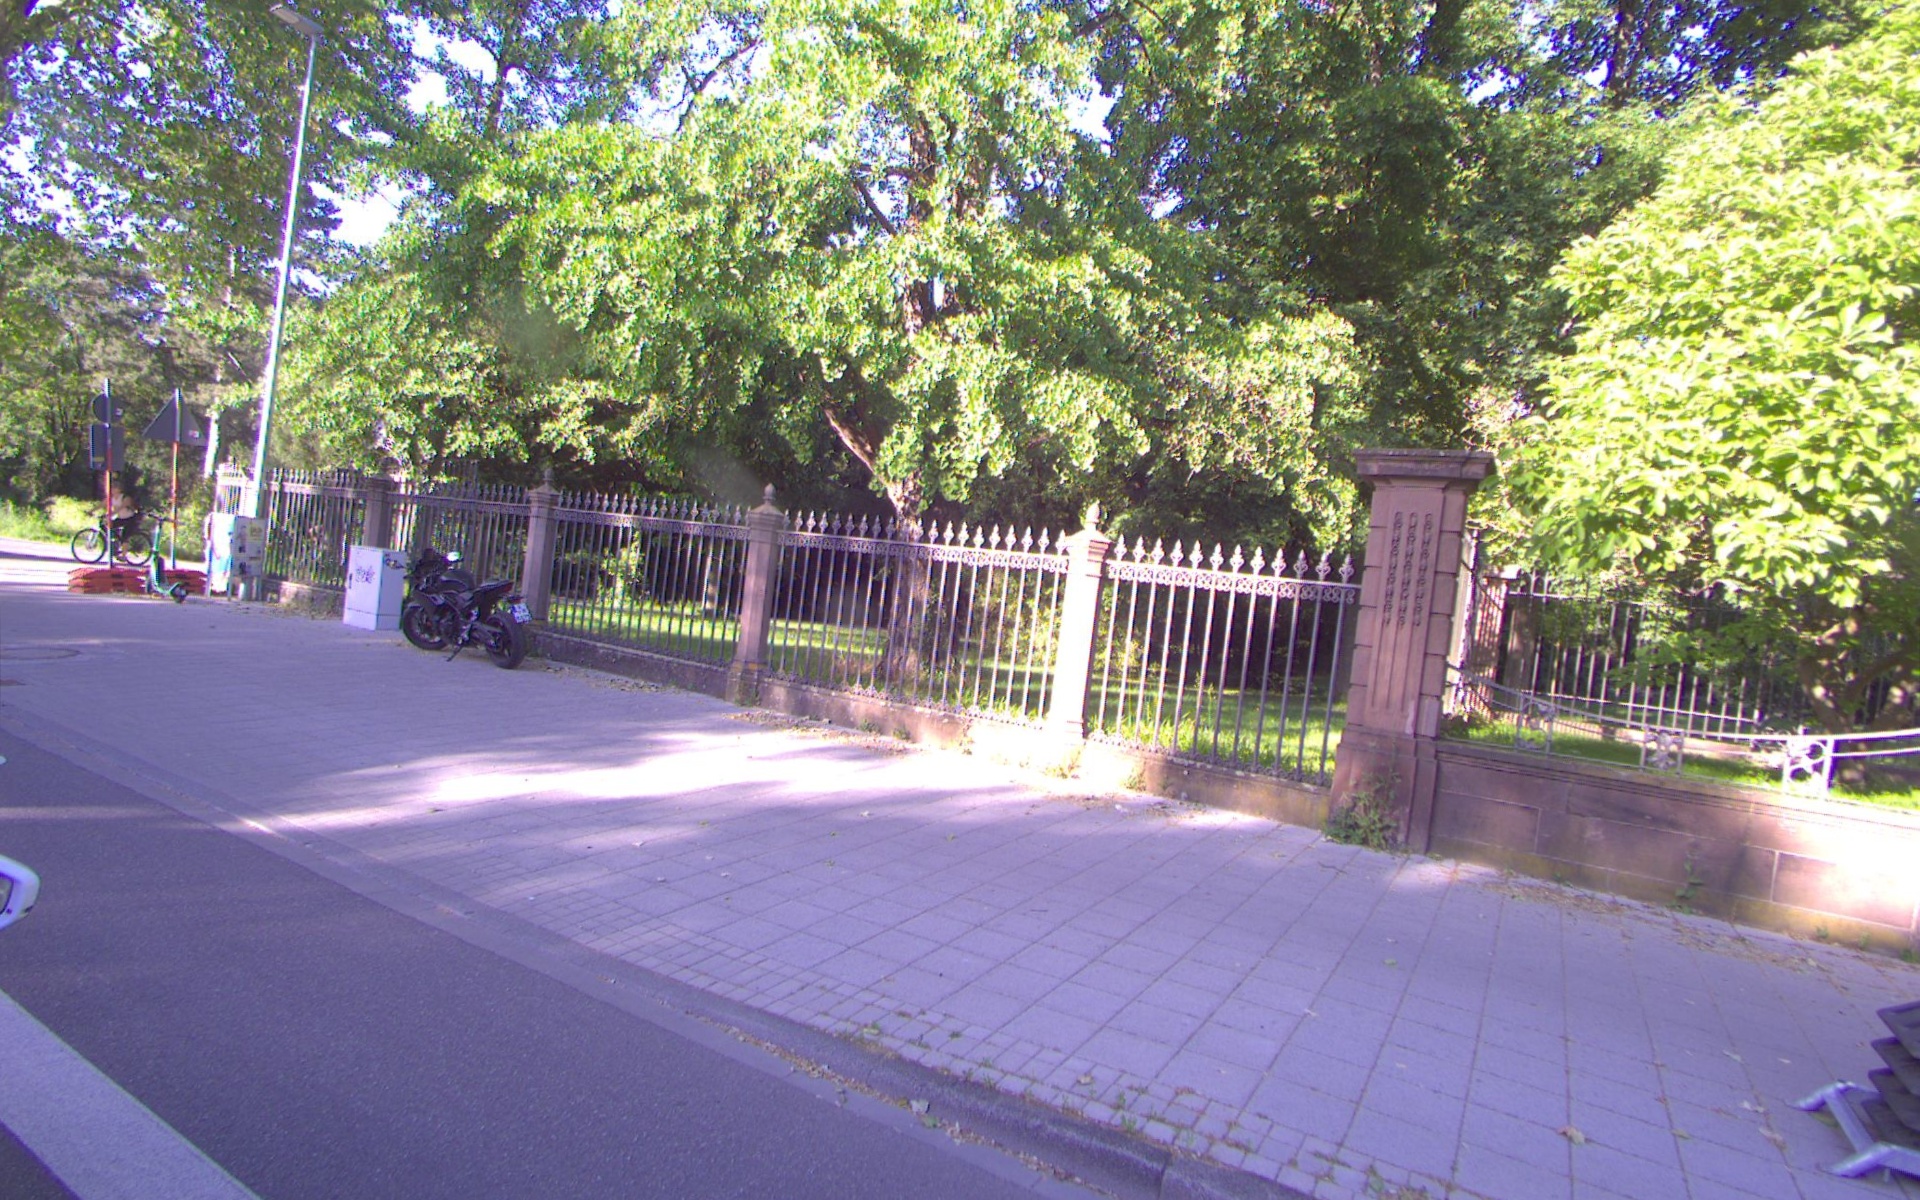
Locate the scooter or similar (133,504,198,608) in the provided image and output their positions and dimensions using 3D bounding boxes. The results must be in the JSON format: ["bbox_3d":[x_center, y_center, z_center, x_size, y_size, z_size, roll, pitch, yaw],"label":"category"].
[{"bbox_3d":[-11.164,-0.628,14.132,1.152,1.344,0.228,7,2,30],"label":"scooter or similar"}]

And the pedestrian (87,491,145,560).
[{"bbox_3d":[-20.699,-1.805,24.687,0.812,1.536,0.909,7,-1,-32],"label":"pedestrian"}]

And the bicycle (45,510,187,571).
[{"bbox_3d":[-17.265,-1.197,20.657,0.736,0.988,2.099,7,1,19],"label":"bicycle"}]

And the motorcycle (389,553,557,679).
[{"bbox_3d":[-5.405,0.154,11.099,2.134,1.146,0.506,7,2,30],"label":"motorcycle"}]

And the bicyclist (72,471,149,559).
[{"bbox_3d":[-17.265,-1.707,20.453,0.722,1.634,0.849,7,2,19],"label":"bicyclist"}]

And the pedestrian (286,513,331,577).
[{"bbox_3d":[-18.634,-1.581,28.772,0.823,1.702,0.685,7,0,-45],"label":"pedestrian"}]

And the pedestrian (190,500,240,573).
[{"bbox_3d":[-18.994,-1.613,25.655,0.633,1.719,0.690,7,0,31],"label":"pedestrian"}]
